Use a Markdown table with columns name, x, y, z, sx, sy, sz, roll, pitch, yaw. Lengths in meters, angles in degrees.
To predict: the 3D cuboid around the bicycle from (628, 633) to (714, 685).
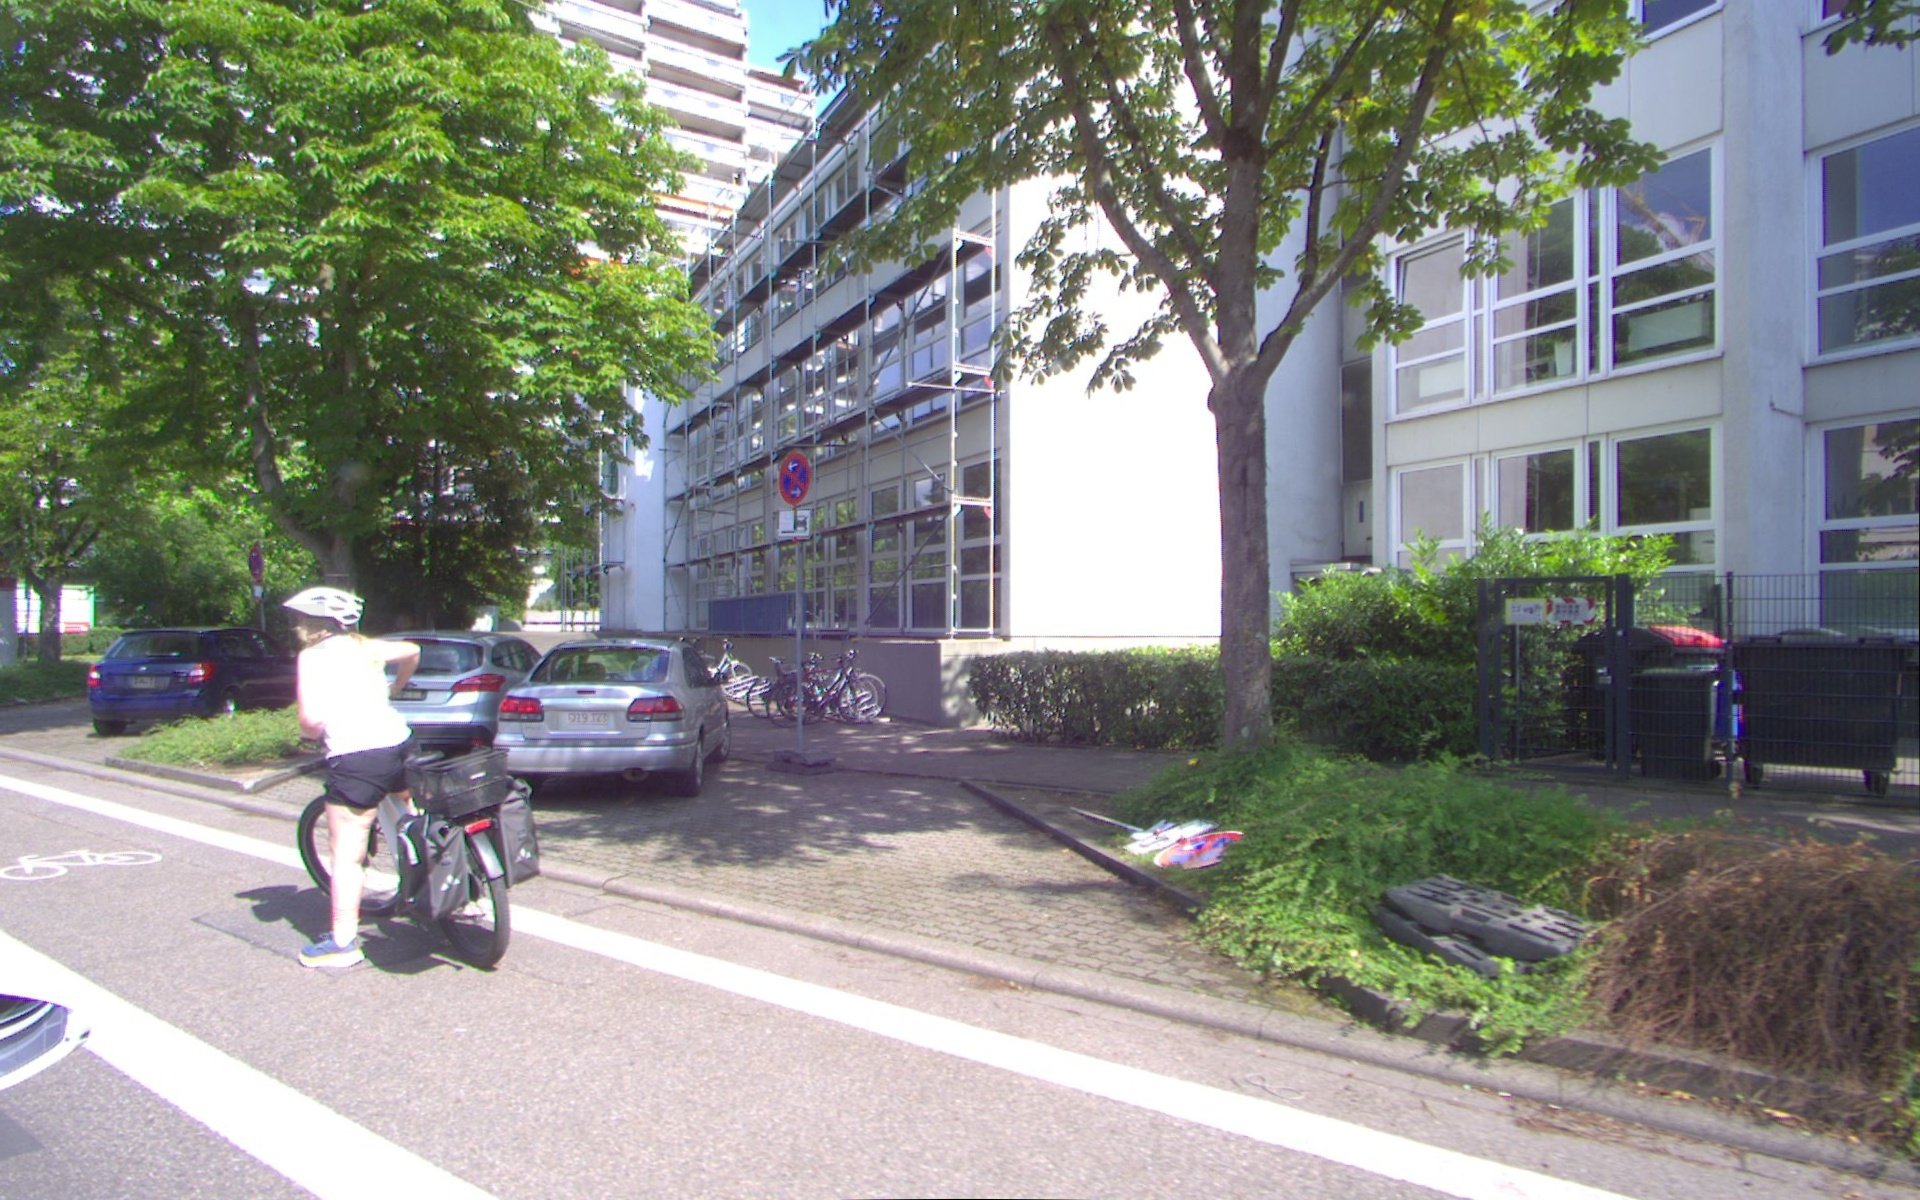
| name | x | y | z | sx | sy | sz | roll | pitch | yaw |
| --- | --- | --- | --- | --- | --- | --- | --- | --- | --- |
| bicycle | -6.436 | 1.300 | 22.332 | 1.804 | 1.110 | 0.449 | 0 | 0 | -26 |

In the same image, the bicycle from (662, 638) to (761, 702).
| name | x | y | z | sx | sy | sz | roll | pitch | yaw |
| --- | --- | --- | --- | --- | --- | --- | --- | --- | --- |
| bicycle | -4.761 | 1.326 | 19.248 | 1.804 | 1.111 | 0.449 | 0 | 3 | -26 |

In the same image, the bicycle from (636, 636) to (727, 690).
| name | x | y | z | sx | sy | sz | roll | pitch | yaw |
| --- | --- | --- | --- | --- | --- | --- | --- | --- | --- |
| bicycle | -5.914 | 1.325 | 21.265 | 1.804 | 1.110 | 0.449 | 1 | 0 | -26 |

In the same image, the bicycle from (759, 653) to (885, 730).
| name | x | y | z | sx | sy | sz | roll | pitch | yaw |
| --- | --- | --- | --- | --- | --- | --- | --- | --- | --- |
| bicycle | -2.120 | 1.394 | 15.483 | 1.872 | 1.067 | 0.449 | 0 | 1 | -26 |

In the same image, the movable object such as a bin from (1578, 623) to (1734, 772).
| name | x | y | z | sx | sy | sz | roll | pitch | yaw |
| --- | --- | --- | --- | --- | --- | --- | --- | --- | --- |
| movable object such as a bin | 7.544 | 1.025 | 10.867 | 1.250 | 1.499 | 0.932 | 2 | -1 | -30 |

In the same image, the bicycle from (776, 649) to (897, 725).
| name | x | y | z | sx | sy | sz | roll | pitch | yaw |
| --- | --- | --- | --- | --- | --- | --- | --- | --- | --- |
| bicycle | -1.971 | 1.374 | 16.087 | 1.872 | 1.110 | 0.449 | 0 | 1 | -26 |

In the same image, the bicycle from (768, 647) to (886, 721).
| name | x | y | z | sx | sy | sz | roll | pitch | yaw |
| --- | --- | --- | --- | --- | --- | --- | --- | --- | --- |
| bicycle | -2.185 | 1.362 | 16.537 | 1.872 | 1.110 | 0.449 | 0 | 1 | -26 |

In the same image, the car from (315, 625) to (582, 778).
| name | x | y | z | sx | sy | sz | roll | pitch | yaw |
| --- | --- | --- | --- | --- | --- | --- | --- | --- | --- |
| car | -5.803 | 1.088 | 11.884 | 1.621 | 1.493 | 3.805 | 2 | -2 | -8 |

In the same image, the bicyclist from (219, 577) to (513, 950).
| name | x | y | z | sx | sy | sz | roll | pitch | yaw |
| --- | --- | --- | --- | --- | --- | --- | --- | --- | --- |
| bicyclist | -2.883 | 0.710 | 4.867 | 1.072 | 1.548 | 0.886 | -1 | -3 | 39 |

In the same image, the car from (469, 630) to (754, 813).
| name | x | y | z | sx | sy | sz | roll | pitch | yaw |
| --- | --- | --- | --- | --- | --- | --- | --- | --- | --- |
| car | -3.240 | 1.047 | 10.199 | 1.690 | 1.438 | 4.244 | 1 | -2 | -5 |

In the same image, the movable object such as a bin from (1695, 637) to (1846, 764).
| name | x | y | z | sx | sy | sz | roll | pitch | yaw |
| --- | --- | --- | --- | --- | --- | --- | --- | --- | --- |
| movable object such as a bin | 9.835 | 1.167 | 12.155 | 1.201 | 1.356 | 1.252 | -1 | 1 | -42 |

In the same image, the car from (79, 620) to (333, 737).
| name | x | y | z | sx | sy | sz | roll | pitch | yaw |
| --- | --- | --- | --- | --- | --- | --- | --- | --- | --- |
| car | -11.370 | 1.085 | 15.465 | 1.586 | 1.505 | 3.996 | -1 | 0 | -12 |

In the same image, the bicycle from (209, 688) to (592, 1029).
| name | x | y | z | sx | sy | sz | roll | pitch | yaw |
| --- | --- | --- | --- | --- | --- | --- | --- | --- | --- |
| bicycle | -2.710 | 1.051 | 4.737 | 2.110 | 1.140 | 0.871 | -1 | -1 | 39 |

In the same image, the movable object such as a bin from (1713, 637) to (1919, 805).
| name | x | y | z | sx | sy | sz | roll | pitch | yaw |
| --- | --- | --- | --- | --- | --- | --- | --- | --- | --- |
| movable object such as a bin | 7.604 | 1.026 | 8.973 | 1.219 | 1.352 | 1.274 | -1 | -3 | 31 |
